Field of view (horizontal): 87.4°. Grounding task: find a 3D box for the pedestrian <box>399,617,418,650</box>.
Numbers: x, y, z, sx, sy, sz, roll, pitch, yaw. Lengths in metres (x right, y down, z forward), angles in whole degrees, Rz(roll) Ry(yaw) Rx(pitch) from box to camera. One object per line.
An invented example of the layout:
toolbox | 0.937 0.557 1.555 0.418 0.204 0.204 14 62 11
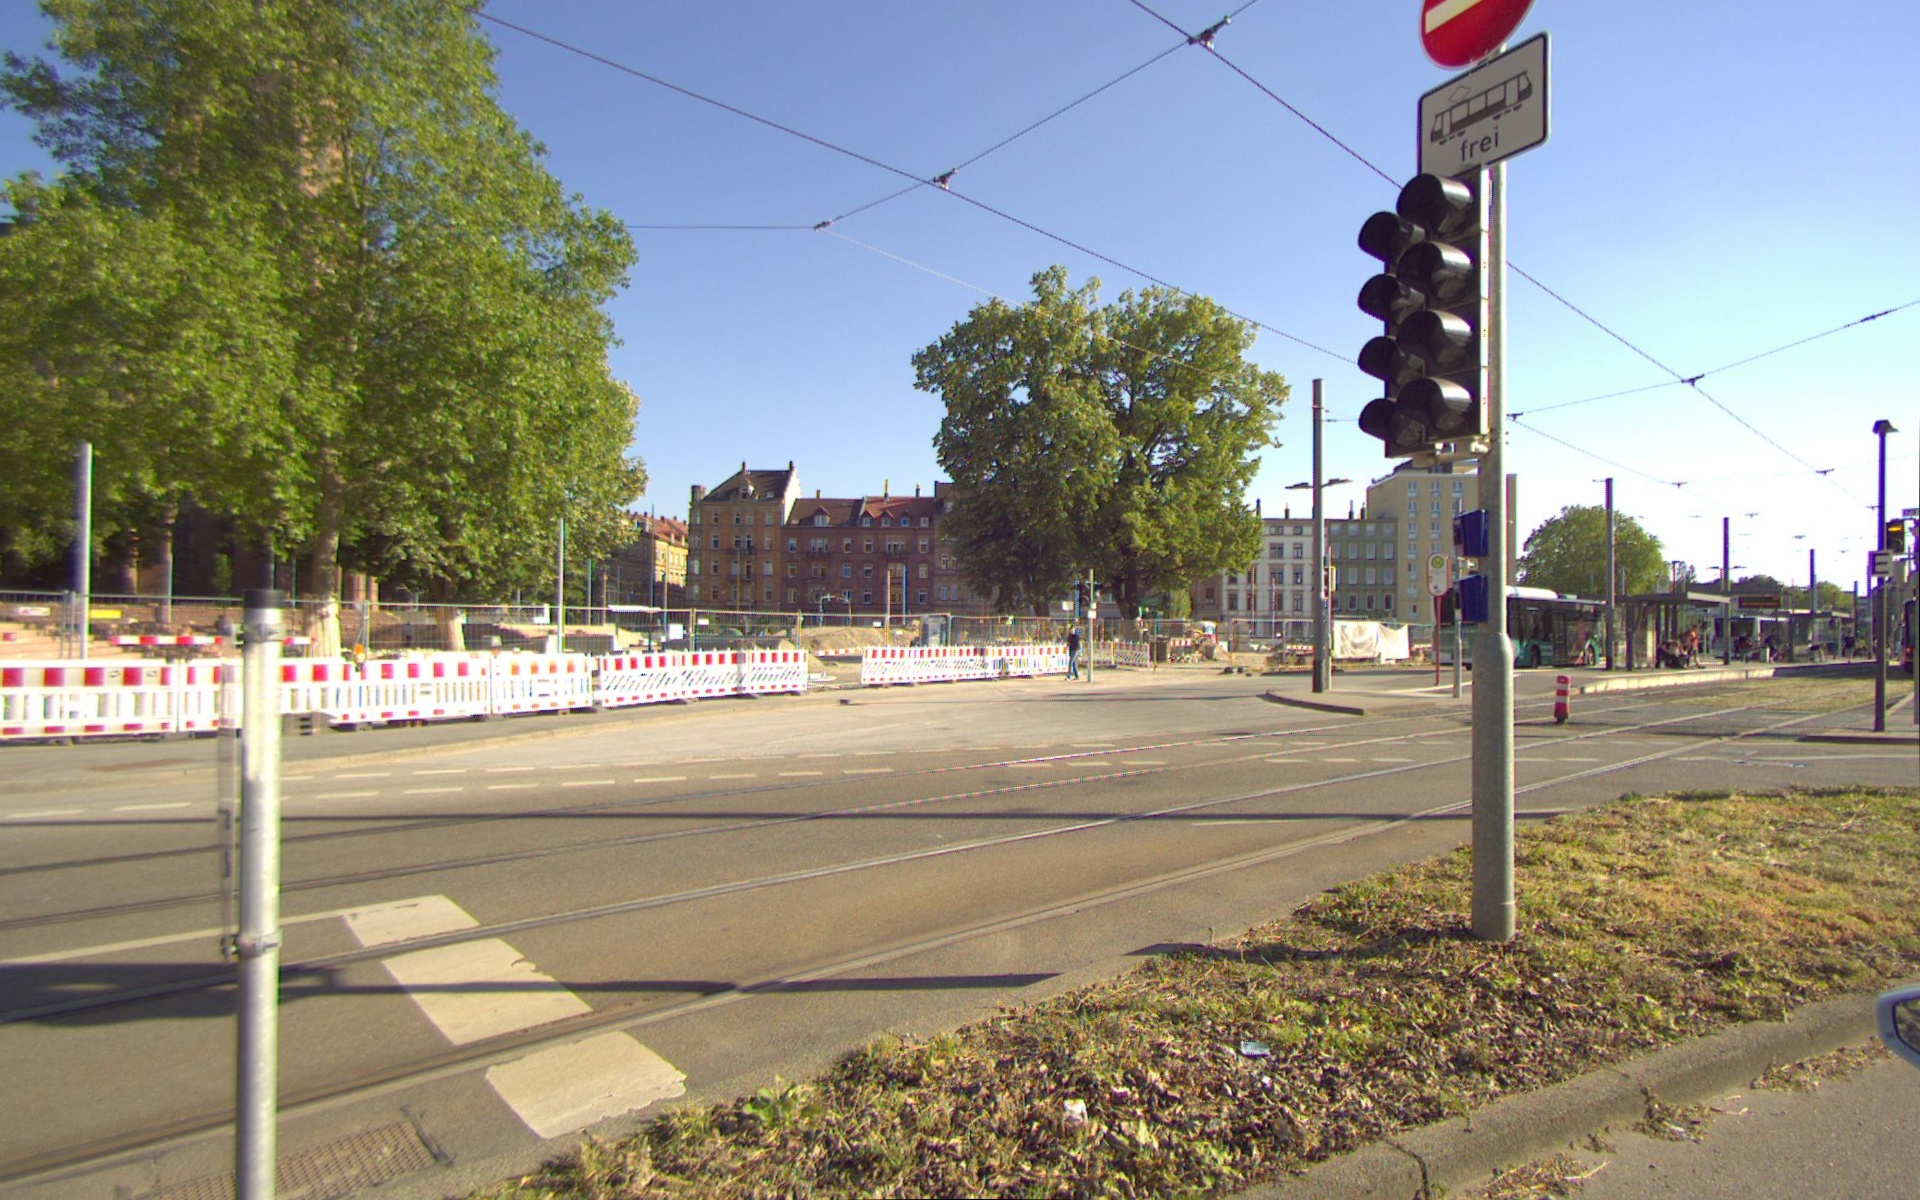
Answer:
pedestrian | -27.703 1.681 50.480 0.751 1.669 0.671 1 -1 -26

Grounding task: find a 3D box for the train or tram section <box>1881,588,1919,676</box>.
train or tram section | 44.752 1.496 45.826 12.108 3.644 2.855 2 0 -42

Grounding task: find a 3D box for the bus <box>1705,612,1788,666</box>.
bus | 53.958 2.637 68.748 13.376 3.317 2.694 2 0 -44

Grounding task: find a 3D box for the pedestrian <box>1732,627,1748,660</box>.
pedestrian | 42.468 2.355 54.689 0.629 1.772 0.570 -1 -2 34

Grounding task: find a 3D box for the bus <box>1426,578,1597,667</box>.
bus | 21.998 0.904 39.749 9.564 3.177 2.631 2 0 -40

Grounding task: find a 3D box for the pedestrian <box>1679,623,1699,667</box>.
pedestrian | 29.559 1.816 40.727 0.564 1.772 0.636 -1 -2 43

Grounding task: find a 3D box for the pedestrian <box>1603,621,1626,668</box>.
pedestrian | 25.069 1.703 38.471 0.554 1.772 0.534 2 -2 -35

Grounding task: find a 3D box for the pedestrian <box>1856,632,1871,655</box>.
pedestrian | 70.921 3.418 78.823 0.634 1.772 0.728 2 -2 -37

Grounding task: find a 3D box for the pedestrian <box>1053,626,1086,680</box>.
pedestrian | 3.557 1.715 32.633 0.699 1.719 0.899 -1 -4 33

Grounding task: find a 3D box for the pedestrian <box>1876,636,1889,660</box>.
pedestrian | 71.206 3.696 77.528 0.636 1.772 0.726 2 -2 -45

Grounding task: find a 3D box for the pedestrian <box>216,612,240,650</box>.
pedestrian | -33.303 1.407 45.712 0.665 1.669 0.635 1 -1 -18

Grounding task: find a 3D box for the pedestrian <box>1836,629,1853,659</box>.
pedestrian | 52.568 2.594 59.693 0.629 1.772 0.570 -1 -2 34

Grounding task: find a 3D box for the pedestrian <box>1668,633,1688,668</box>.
pedestrian | 28.180 1.987 39.407 0.564 1.363 0.636 -1 -2 43

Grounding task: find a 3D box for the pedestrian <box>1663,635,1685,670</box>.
pedestrian | 27.671 2.023 38.931 0.609 1.358 0.438 -1 -2 44

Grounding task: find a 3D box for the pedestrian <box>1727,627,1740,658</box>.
pedestrian | 44.674 2.468 57.993 0.564 1.772 0.636 -1 -2 41

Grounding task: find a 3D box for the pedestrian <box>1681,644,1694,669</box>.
pedestrian | 53.704 4.176 74.169 0.568 1.772 0.632 2 -2 -41

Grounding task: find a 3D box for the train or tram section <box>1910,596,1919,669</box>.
train or tram section | 53.889 1.824 53.779 12.100 3.644 2.987 2 0 -40
